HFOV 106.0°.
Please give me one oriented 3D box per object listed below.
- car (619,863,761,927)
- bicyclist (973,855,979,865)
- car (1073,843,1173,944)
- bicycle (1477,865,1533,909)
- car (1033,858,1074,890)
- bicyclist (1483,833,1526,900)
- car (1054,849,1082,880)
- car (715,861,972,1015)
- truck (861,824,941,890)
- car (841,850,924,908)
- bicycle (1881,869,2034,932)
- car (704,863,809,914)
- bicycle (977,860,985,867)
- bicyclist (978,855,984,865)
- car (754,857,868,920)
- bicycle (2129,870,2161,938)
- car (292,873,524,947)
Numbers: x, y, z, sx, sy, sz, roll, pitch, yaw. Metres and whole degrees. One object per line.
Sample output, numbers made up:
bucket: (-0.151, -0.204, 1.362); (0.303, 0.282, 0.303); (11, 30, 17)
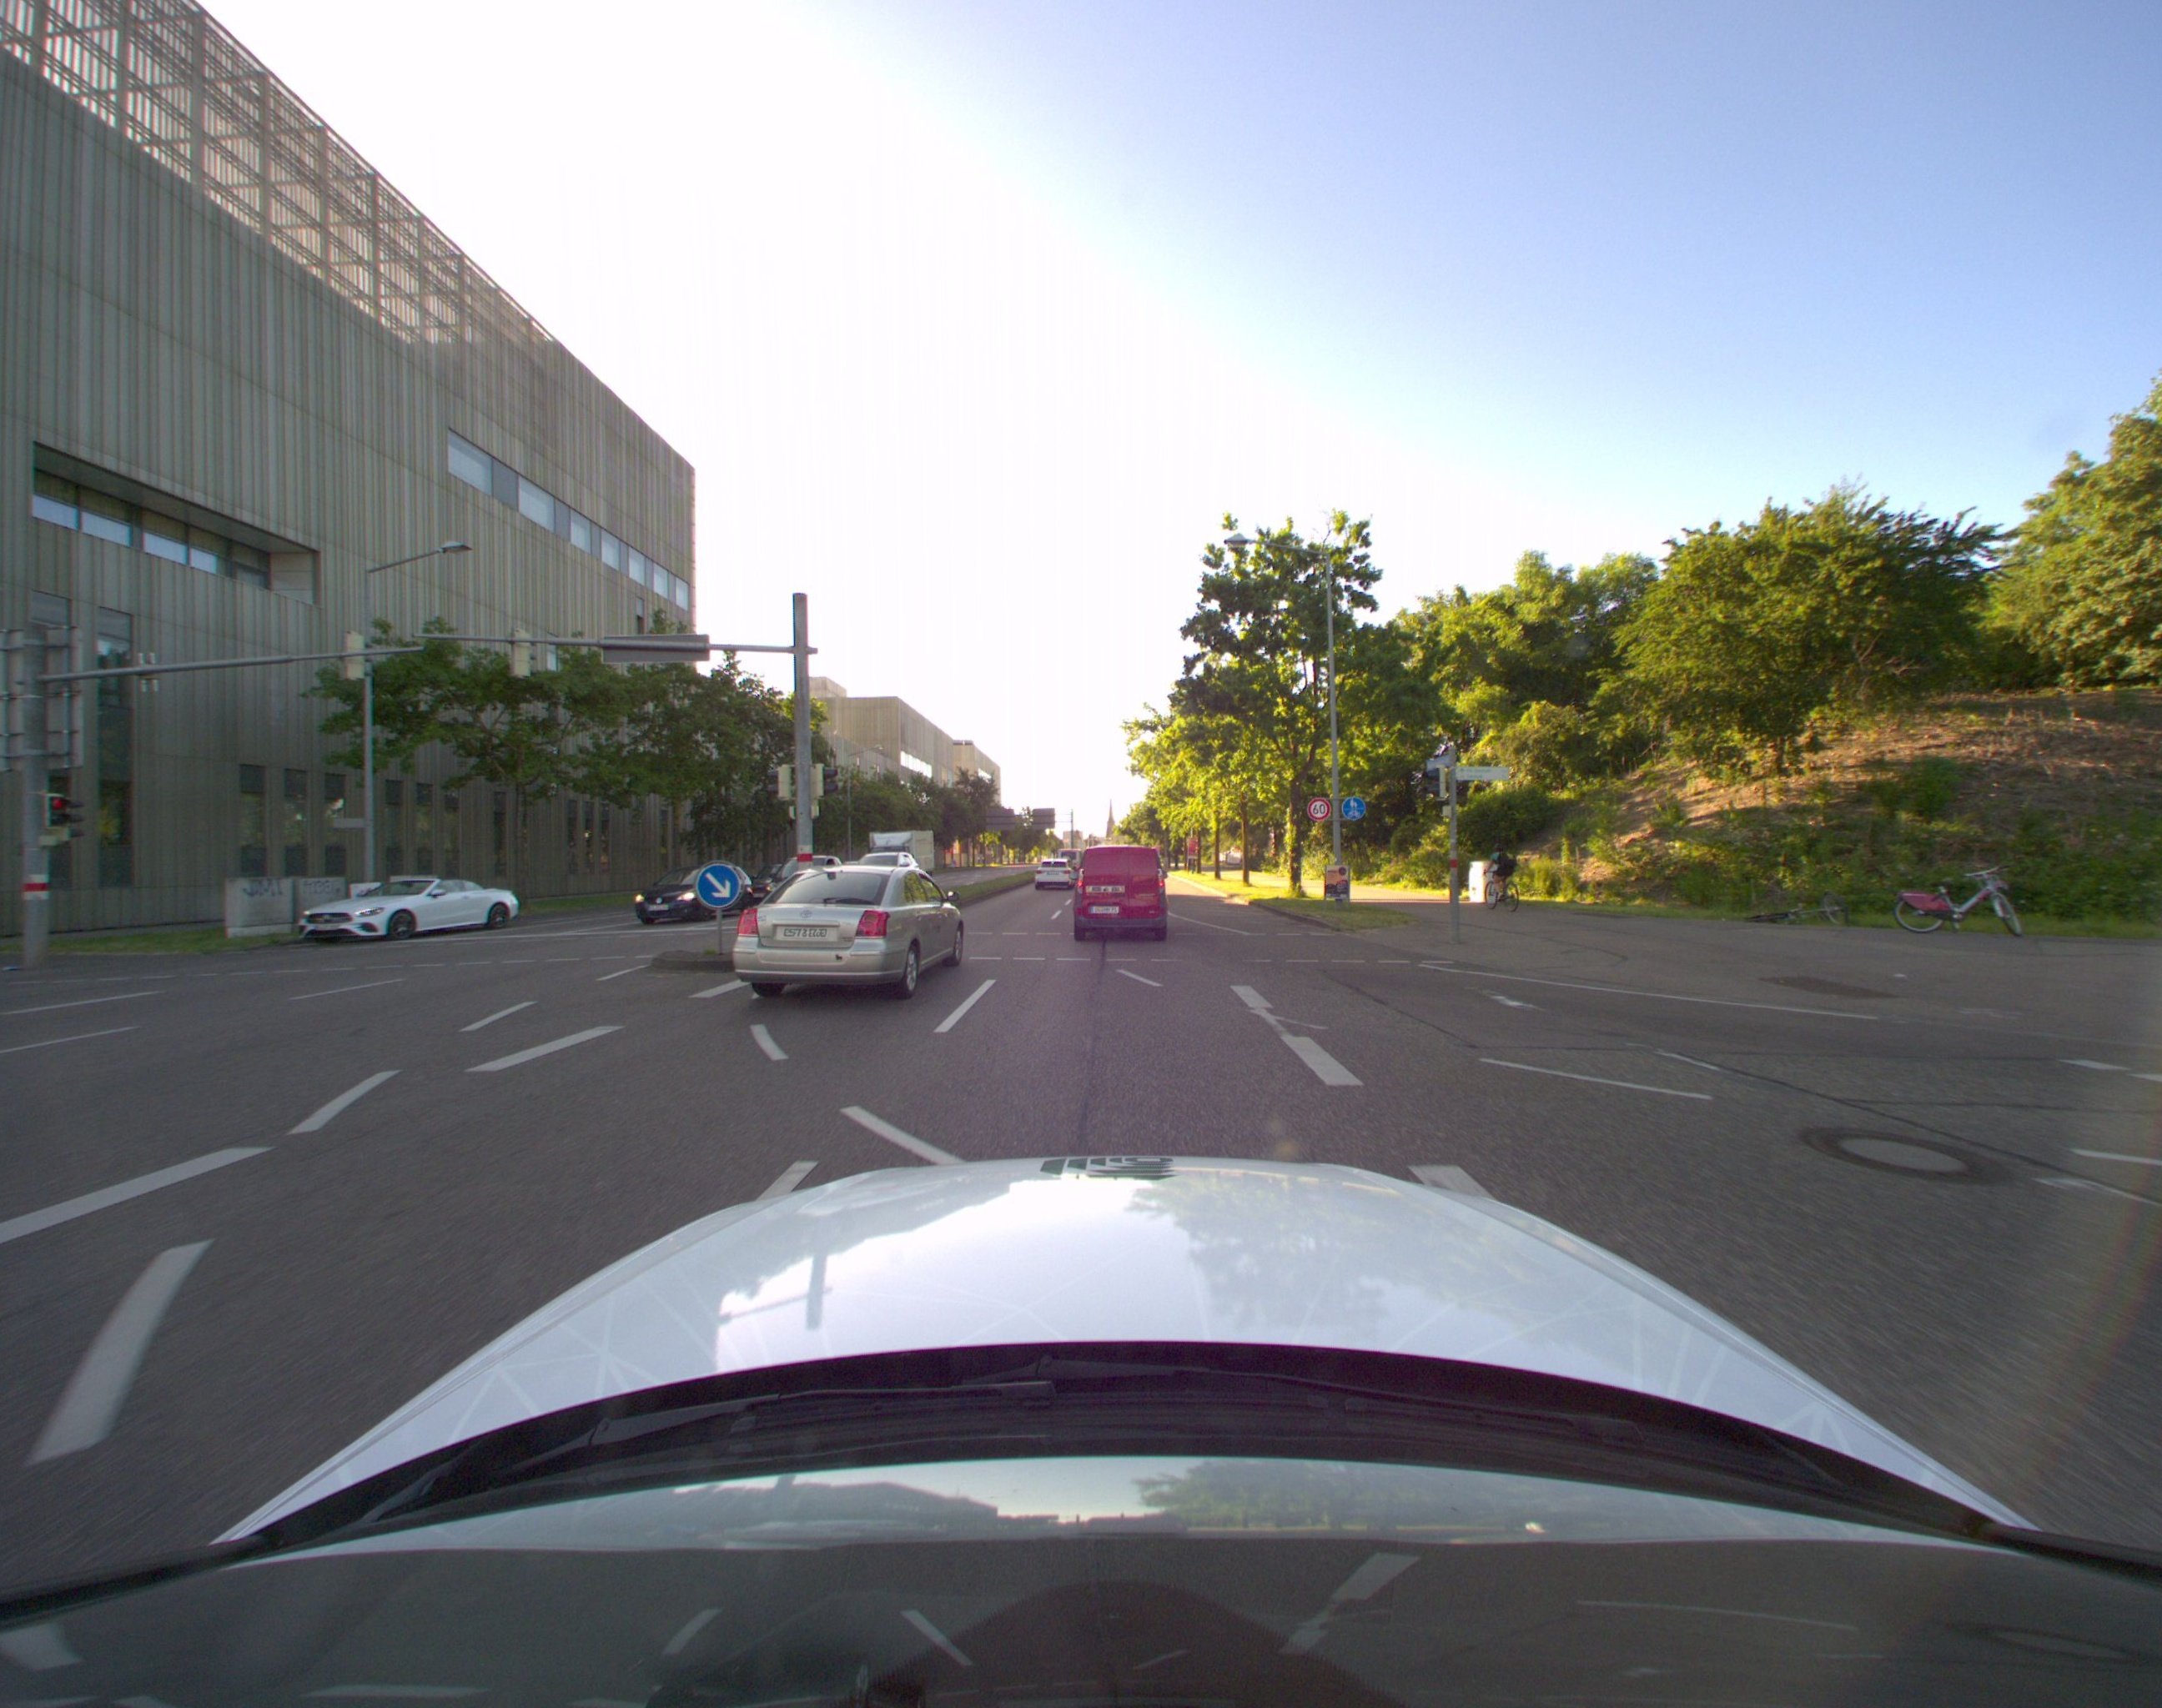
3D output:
car: (-10.208, 1.016, 21.639); (1.630, 1.443, 4.078); (-3, -1, 2)
bicyclist: (-19.779, 1.081, 153.105); (0.906, 1.766, 1.397); (0, -2, 2)
car: (0.845, 0.700, 16.596); (1.797, 1.794, 4.003); (0, 0, 3)
bicycle: (10.348, 0.802, 19.948); (0.589, 1.023, 1.752); (0, -2, 5)
car: (-1.243, 0.914, 38.705); (1.808, 1.438, 3.730); (0, 0, 0)
bicyclist: (10.326, 0.312, 19.878); (0.589, 1.614, 0.943); (0, -2, 5)
car: (-0.832, 0.748, 54.972); (1.794, 1.989, 4.589); (0, -2, 1)
car: (-2.608, 0.845, 10.096); (1.726, 1.480, 4.321); (-1, -1, 3)
truck: (-9.261, 0.189, 42.679); (2.400, 3.027, 6.658); (-3, -1, 2)
car: (-6.944, 0.853, 28.888); (1.751, 1.796, 4.084); (-3, -1, 2)
bicycle: (14.620, 0.770, 13.623); (1.734, 1.023, 0.595); (0, -2, 9)
car: (-10.476, 1.071, 26.597); (1.630, 1.443, 4.078); (-3, -1, 2)
bicycle: (-18.772, 1.771, 153.089); (0.906, 1.199, 3.302); (0, -2, 2)
bicyclist: (-18.778, 1.136, 153.109); (0.906, 1.686, 1.409); (0, -2, 2)
car: (-7.055, 0.857, 21.664); (1.630, 1.443, 3.720); (-3, -1, 2)
bicycle: (16.984, 0.748, 12.126); (1.734, 1.023, 0.595); (0, -2, 9)
car: (-16.045, 1.260, 19.799); (1.683, 1.443, 4.561); (-3, -1, 2)
